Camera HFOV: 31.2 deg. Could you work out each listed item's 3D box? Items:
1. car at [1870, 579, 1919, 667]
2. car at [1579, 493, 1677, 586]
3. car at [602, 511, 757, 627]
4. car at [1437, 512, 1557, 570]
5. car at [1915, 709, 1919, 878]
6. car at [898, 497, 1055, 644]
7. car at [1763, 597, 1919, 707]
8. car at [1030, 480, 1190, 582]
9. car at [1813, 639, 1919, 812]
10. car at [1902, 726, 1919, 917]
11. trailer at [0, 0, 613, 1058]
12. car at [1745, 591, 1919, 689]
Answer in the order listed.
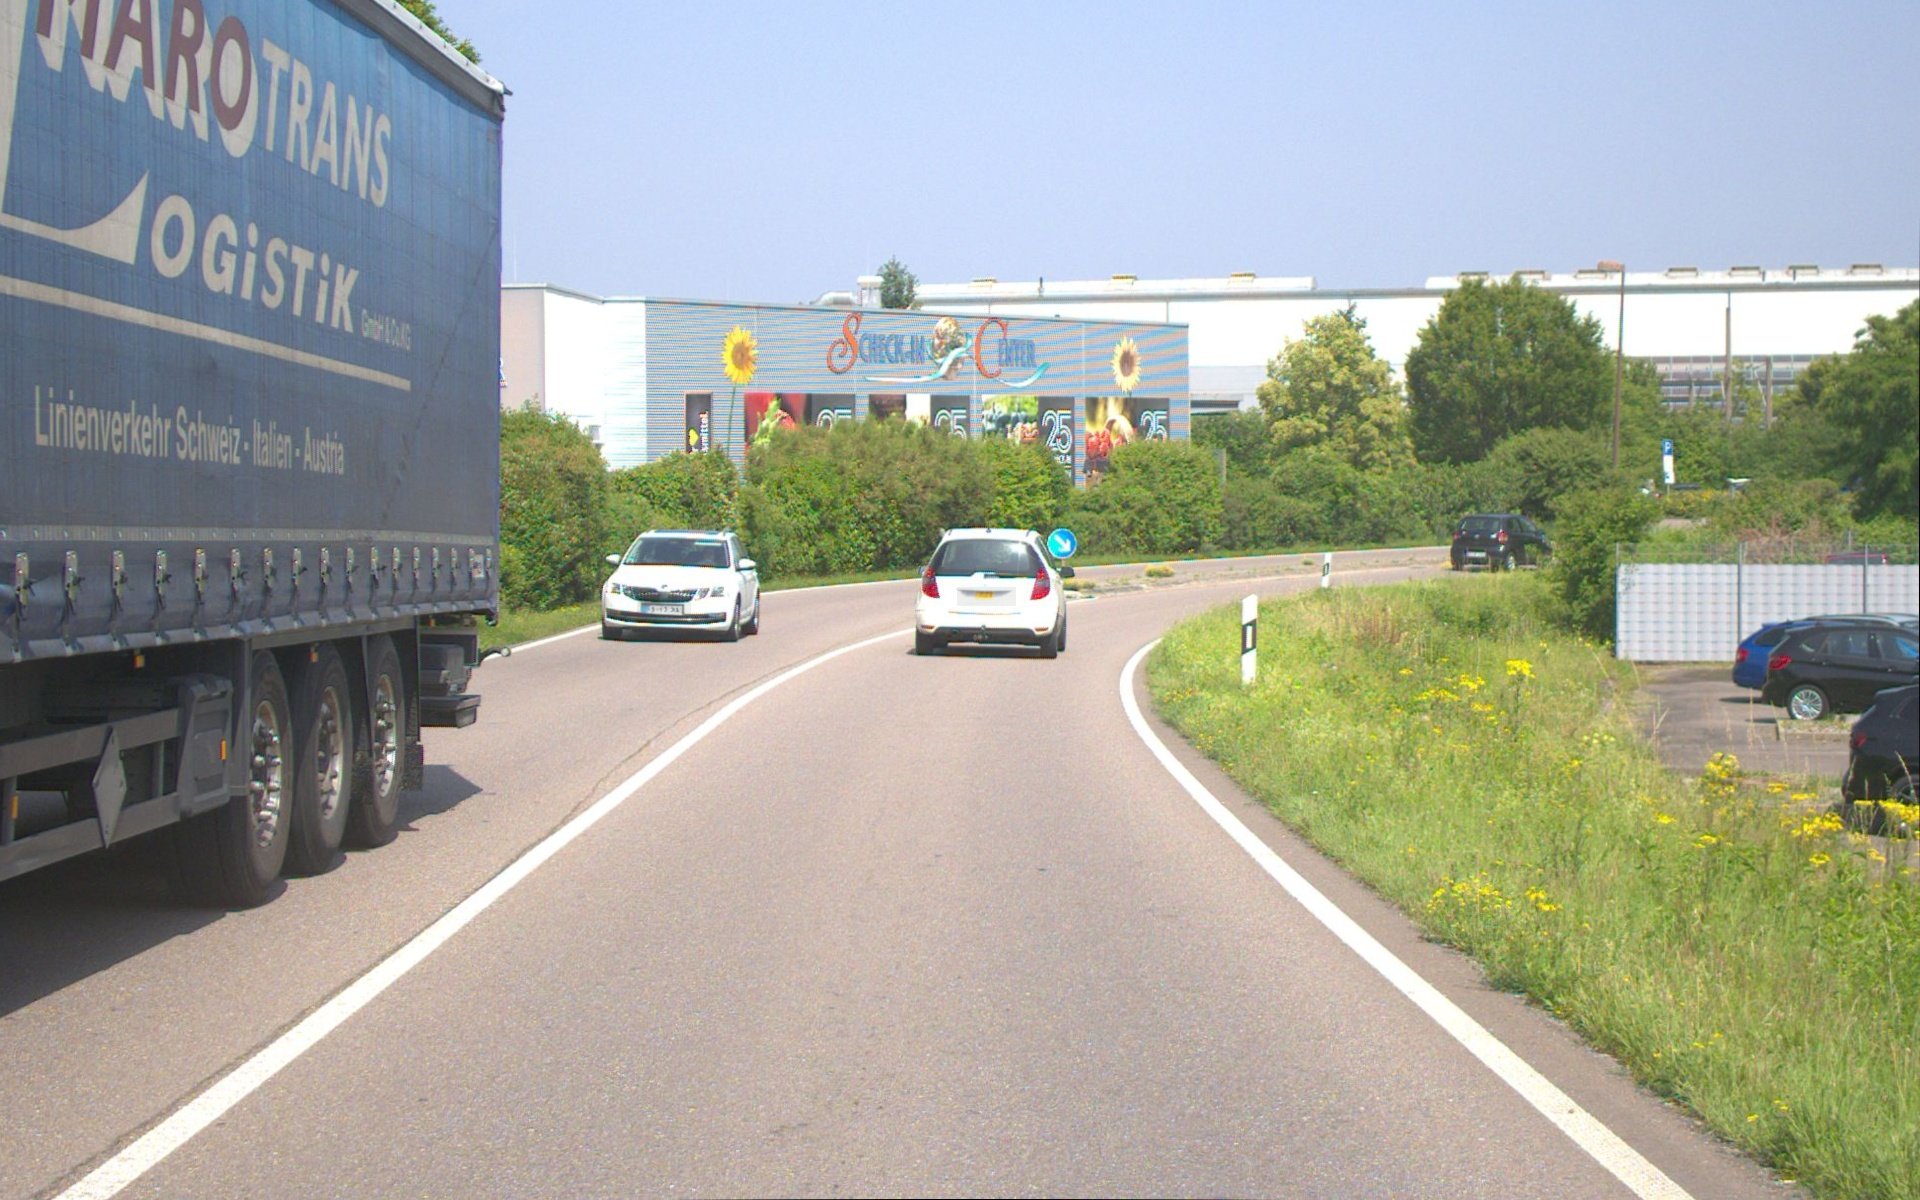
[{"bbox_3d":[18.814,0.468,61.806,4.370,1.497,1.838,3,4,43],"label":"car"},{"bbox_3d":[15.200,-1.381,78.140,1.995,2.007,3.998,1,1,13],"label":"car"},{"bbox_3d":[-3.741,-0.449,46.440,1.828,1.465,4.410,1,1,-1],"label":"car"},{"bbox_3d":[14.179,-1.559,90.618,1.831,1.465,4.403,2,1,27],"label":"car"},{"bbox_3d":[11.071,1.793,30.540,4.636,1.518,1.853,2,2,31],"label":"car"},{"bbox_3d":[0.168,-0.413,43.630,1.781,1.597,3.894,4,2,-1],"label":"car"},{"bbox_3d":[15.138,0.828,53.895,4.635,1.599,1.854,2,2,28],"label":"car"},{"bbox_3d":[3.121,-1.420,70.909,1.996,2.007,3.995,2,1,23],"label":"car"},{"bbox_3d":[11.667,1.394,36.637,4.637,1.694,1.853,2,4,33],"label":"car"},{"bbox_3d":[9.902,1.841,27.627,4.165,1.518,1.853,2,1,29],"label":"car"},{"bbox_3d":[-3.795,-1.030,15.347,2.670,4.226,14.566,1,1,1],"label":"trailer"},{"bbox_3d":[16.222,0.699,59.801,4.636,1.493,1.853,2,4,31],"label":"car"}]
